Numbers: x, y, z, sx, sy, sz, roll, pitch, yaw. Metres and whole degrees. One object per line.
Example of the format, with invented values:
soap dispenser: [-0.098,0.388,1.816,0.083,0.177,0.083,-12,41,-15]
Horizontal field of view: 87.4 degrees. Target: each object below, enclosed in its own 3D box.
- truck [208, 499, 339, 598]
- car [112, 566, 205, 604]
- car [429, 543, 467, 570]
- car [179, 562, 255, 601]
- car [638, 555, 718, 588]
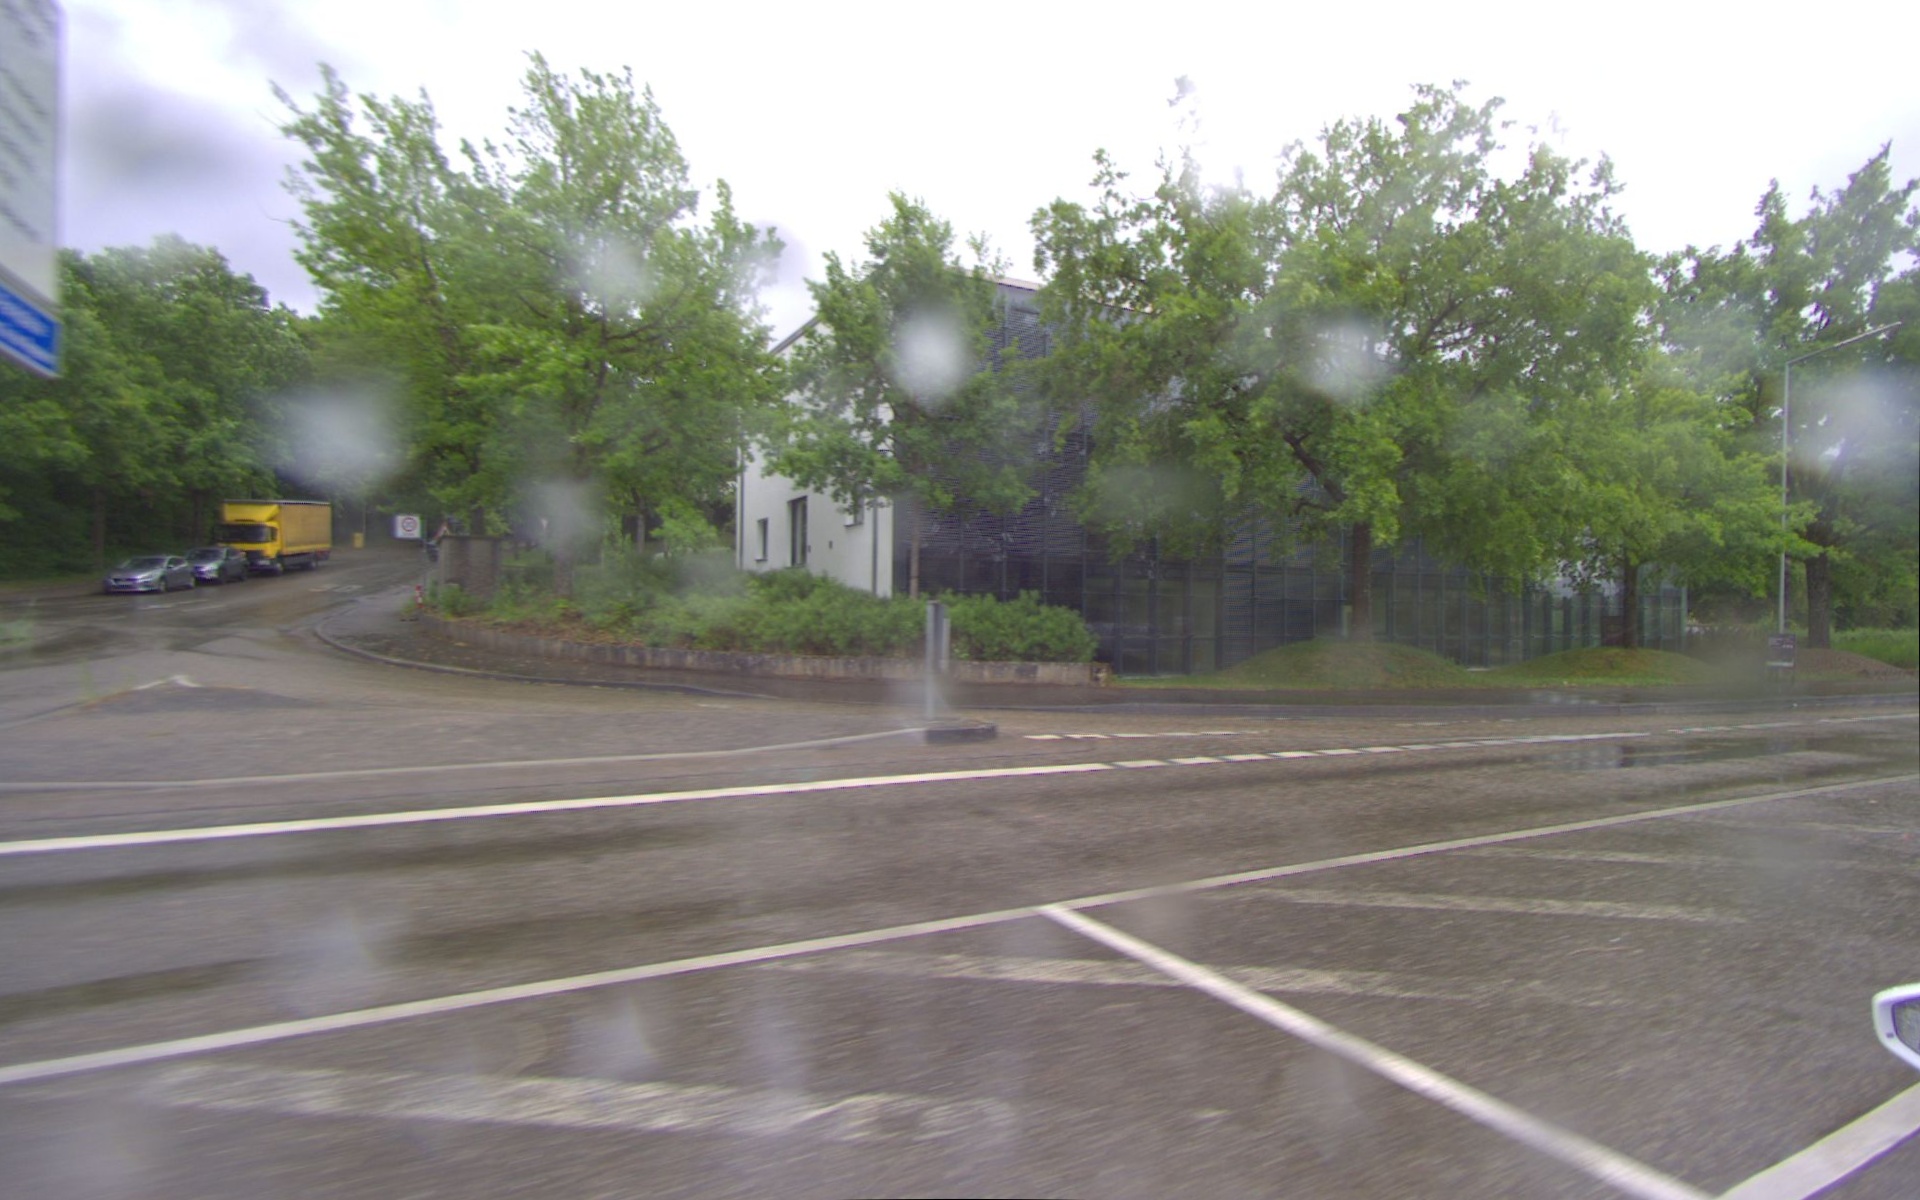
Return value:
truck: [-36.452,-2.634,53.850,2.772,4.717,10.649,1,1,-17]
car: [-31.947,-0.560,40.150,1.453,1.419,3.870,1,0,-15]
car: [-36.047,-3.077,70.758,1.772,1.786,3.982,1,3,-18]
car: [-33.686,-0.845,45.656,1.453,1.674,3.870,1,1,-15]
car: [-16.665,-1.693,59.595,4.317,1.786,1.996,1,3,-9]
